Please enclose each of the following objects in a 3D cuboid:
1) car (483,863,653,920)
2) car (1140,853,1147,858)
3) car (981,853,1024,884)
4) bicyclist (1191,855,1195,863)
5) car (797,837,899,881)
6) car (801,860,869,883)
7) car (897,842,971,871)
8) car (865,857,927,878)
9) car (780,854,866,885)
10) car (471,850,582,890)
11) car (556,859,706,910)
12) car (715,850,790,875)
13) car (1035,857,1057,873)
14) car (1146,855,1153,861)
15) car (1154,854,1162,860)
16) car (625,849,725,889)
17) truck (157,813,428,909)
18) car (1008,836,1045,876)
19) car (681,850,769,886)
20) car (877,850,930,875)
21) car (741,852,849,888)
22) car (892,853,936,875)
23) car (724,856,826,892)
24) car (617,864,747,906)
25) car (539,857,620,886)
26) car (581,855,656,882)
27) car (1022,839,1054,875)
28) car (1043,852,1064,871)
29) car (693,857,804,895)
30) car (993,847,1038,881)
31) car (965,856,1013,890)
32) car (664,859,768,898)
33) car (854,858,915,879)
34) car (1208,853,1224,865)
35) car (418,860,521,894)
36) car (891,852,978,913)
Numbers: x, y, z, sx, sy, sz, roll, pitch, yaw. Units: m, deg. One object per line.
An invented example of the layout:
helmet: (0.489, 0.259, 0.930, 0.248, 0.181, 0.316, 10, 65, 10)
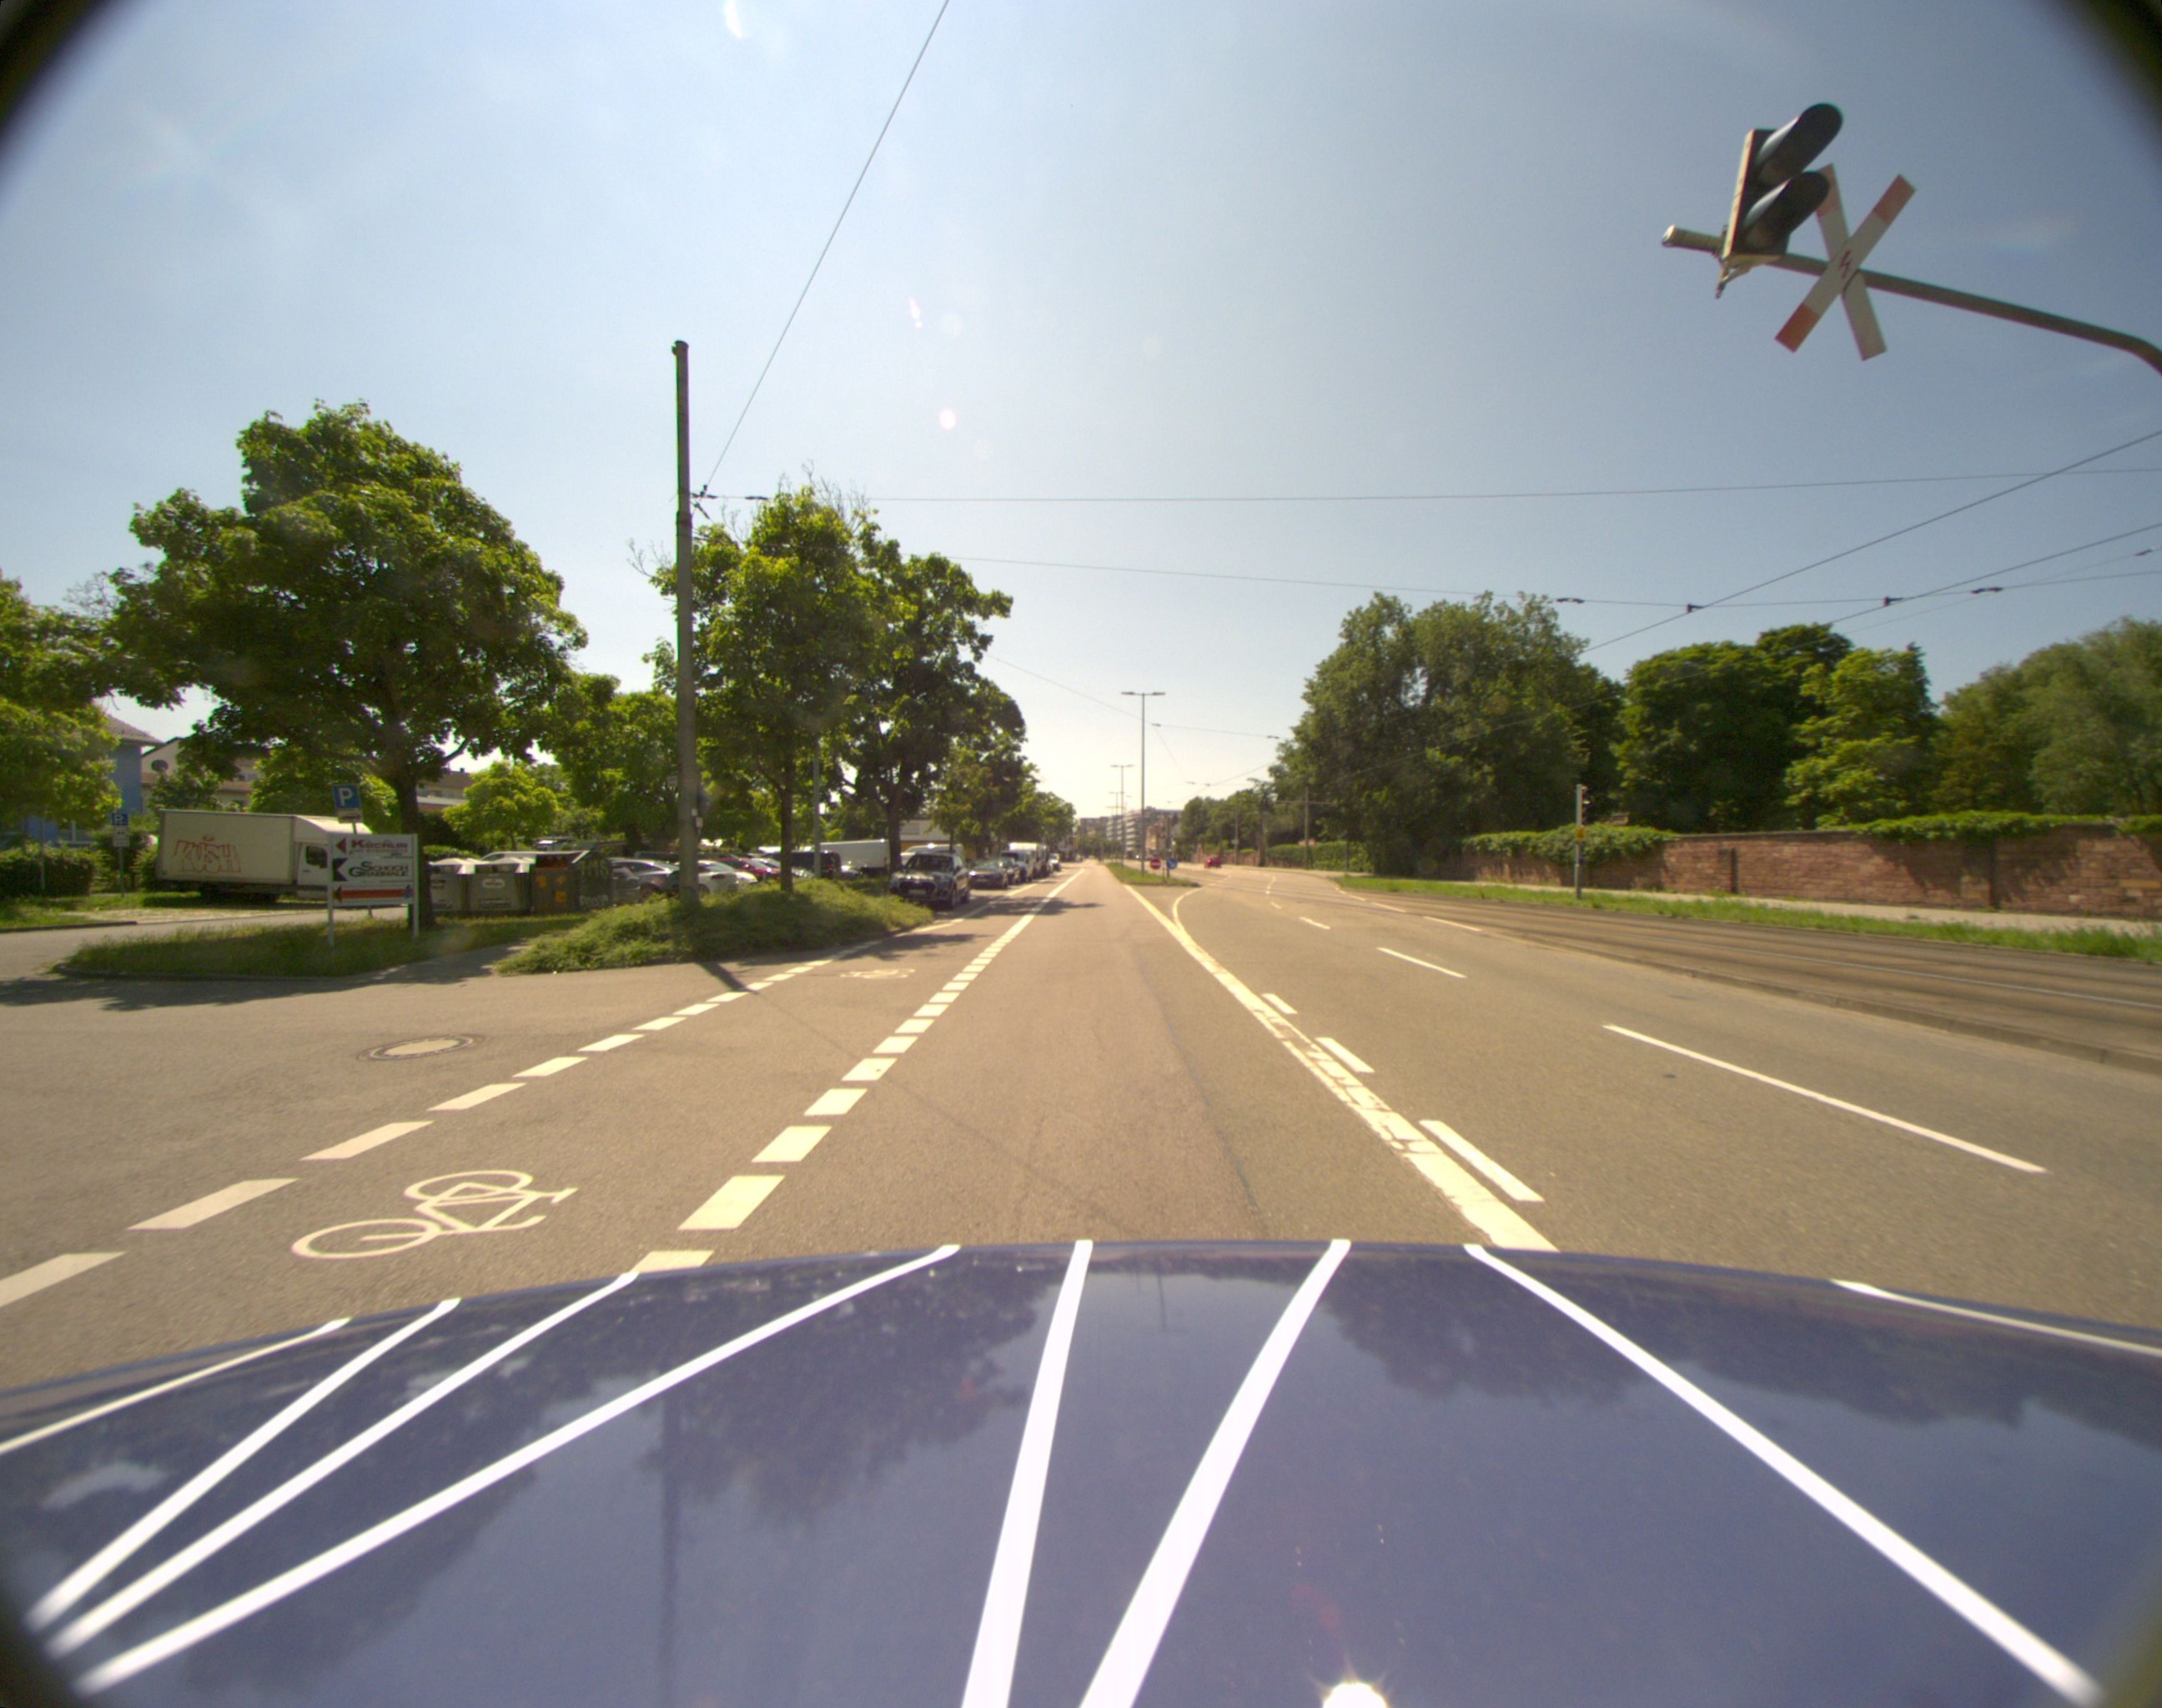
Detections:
car: (-15.405, 1.096, 22.968, 3.870, 1.481, 1.770, -2, 0, -1)
car: (20.574, 0.471, 250.880, 1.845, 1.408, 4.711, -3, 0, 1)
car: (-4.188, 0.760, 41.198, 1.716, 1.532, 3.841, 2, 0, 3)
bicyclist: (22.065, 0.965, 149.099, 0.654, 1.488, 0.662, 0, 0, -1)
car: (-14.247, 0.315, 46.744, 5.503, 2.445, 2.095, -2, 0, 2)
car: (-14.227, 1.016, 44.019, 3.342, 1.182, 1.682, -2, 0, 2)
car: (-13.760, 0.219, 71.394, 6.355, 2.514, 2.264, -2, 0, 4)
car: (-14.019, 1.014, 57.685, 4.287, 1.397, 1.727, -2, 0, -1)
car: (-14.015, 0.840, 41.449, 4.031, 1.482, 1.770, -2, 0, -1)
car: (-26.774, 0.741, 36.797, 4.010, 1.797, 1.753, 1, 0, -2)
car: (-14.896, 0.988, 25.313, 3.870, 1.481, 1.770, -2, 0, -1)
car: (-26.495, 0.704, 61.407, 5.108, 1.865, 2.095, 2, 0, 2)
car: (-3.310, 1.038, 71.822, 1.726, 1.419, 4.209, 2, 0, 1)
car: (19.418, 1.107, 215.427, 1.845, 1.408, 5.034, -3, 0, 1)
car: (19.091, 0.820, 188.488, 1.760, 1.440, 4.124, -2, 0, 3)
car: (-26.908, 0.984, 50.427, 5.503, 2.445, 2.095, 2, 0, 2)
truck: (-27.542, 0.241, 26.749, 6.964, 3.067, 2.424, 1, 0, 0)
car: (-3.761, 0.156, 53.846, 2.002, 2.621, 6.143, 2, 0, 1)
car: (-26.358, 1.015, 56.386, 5.503, 2.445, 2.095, 2, 0, 2)
car: (-14.197, 0.662, 60.819, 3.790, 1.773, 1.954, -2, 0, -3)
car: (-14.591, 0.821, 38.918, 4.703, 1.635, 1.954, -2, 0, 2)
car: (-14.514, 0.864, 66.126, 3.380, 1.707, 1.728, -2, 0, 1)
car: (-14.392, 0.927, 35.847, 4.031, 1.482, 1.770, -2, 0, -1)
car: (-14.712, 1.136, 28.152, 3.869, 1.350, 1.770, -2, 0, 2)
car: (-27.657, 0.949, 41.951, 3.342, 1.420, 1.682, 2, 0, 3)
car: (-26.914, 0.830, 44.304, 3.342, 1.420, 1.682, 2, 0, 3)
car: (-3.385, 0.216, 60.591, 2.002, 2.621, 6.079, 2, 0, 1)
car: (-2.975, 0.832, 83.358, 1.884, 1.905, 5.125, 2, 0, 2)
car: (-14.526, 0.945, 33.348, 4.031, 1.482, 1.770, -2, 0, -1)
car: (-3.985, 0.605, 46.912, 2.002, 1.867, 5.277, 2, 0, 3)
car: (-4.293, 0.851, 36.065, 1.717, 1.410, 4.708, 2, 0, -1)
car: (-14.804, 0.990, 30.919, 3.342, 1.420, 1.682, -2, 0, 2)
car: (-14.193, 1.034, 54.965, 3.896, 1.397, 1.727, -2, 0, -1)
car: (17.165, 0.643, 96.388, 1.709, 1.405, 4.286, 0, 0, 13)
car: (-27.706, 1.010, 34.489, 3.342, 1.420, 1.682, 2, 0, 3)
car: (-4.497, 0.802, 24.004, 1.716, 1.623, 4.708, 2, 1, 1)
